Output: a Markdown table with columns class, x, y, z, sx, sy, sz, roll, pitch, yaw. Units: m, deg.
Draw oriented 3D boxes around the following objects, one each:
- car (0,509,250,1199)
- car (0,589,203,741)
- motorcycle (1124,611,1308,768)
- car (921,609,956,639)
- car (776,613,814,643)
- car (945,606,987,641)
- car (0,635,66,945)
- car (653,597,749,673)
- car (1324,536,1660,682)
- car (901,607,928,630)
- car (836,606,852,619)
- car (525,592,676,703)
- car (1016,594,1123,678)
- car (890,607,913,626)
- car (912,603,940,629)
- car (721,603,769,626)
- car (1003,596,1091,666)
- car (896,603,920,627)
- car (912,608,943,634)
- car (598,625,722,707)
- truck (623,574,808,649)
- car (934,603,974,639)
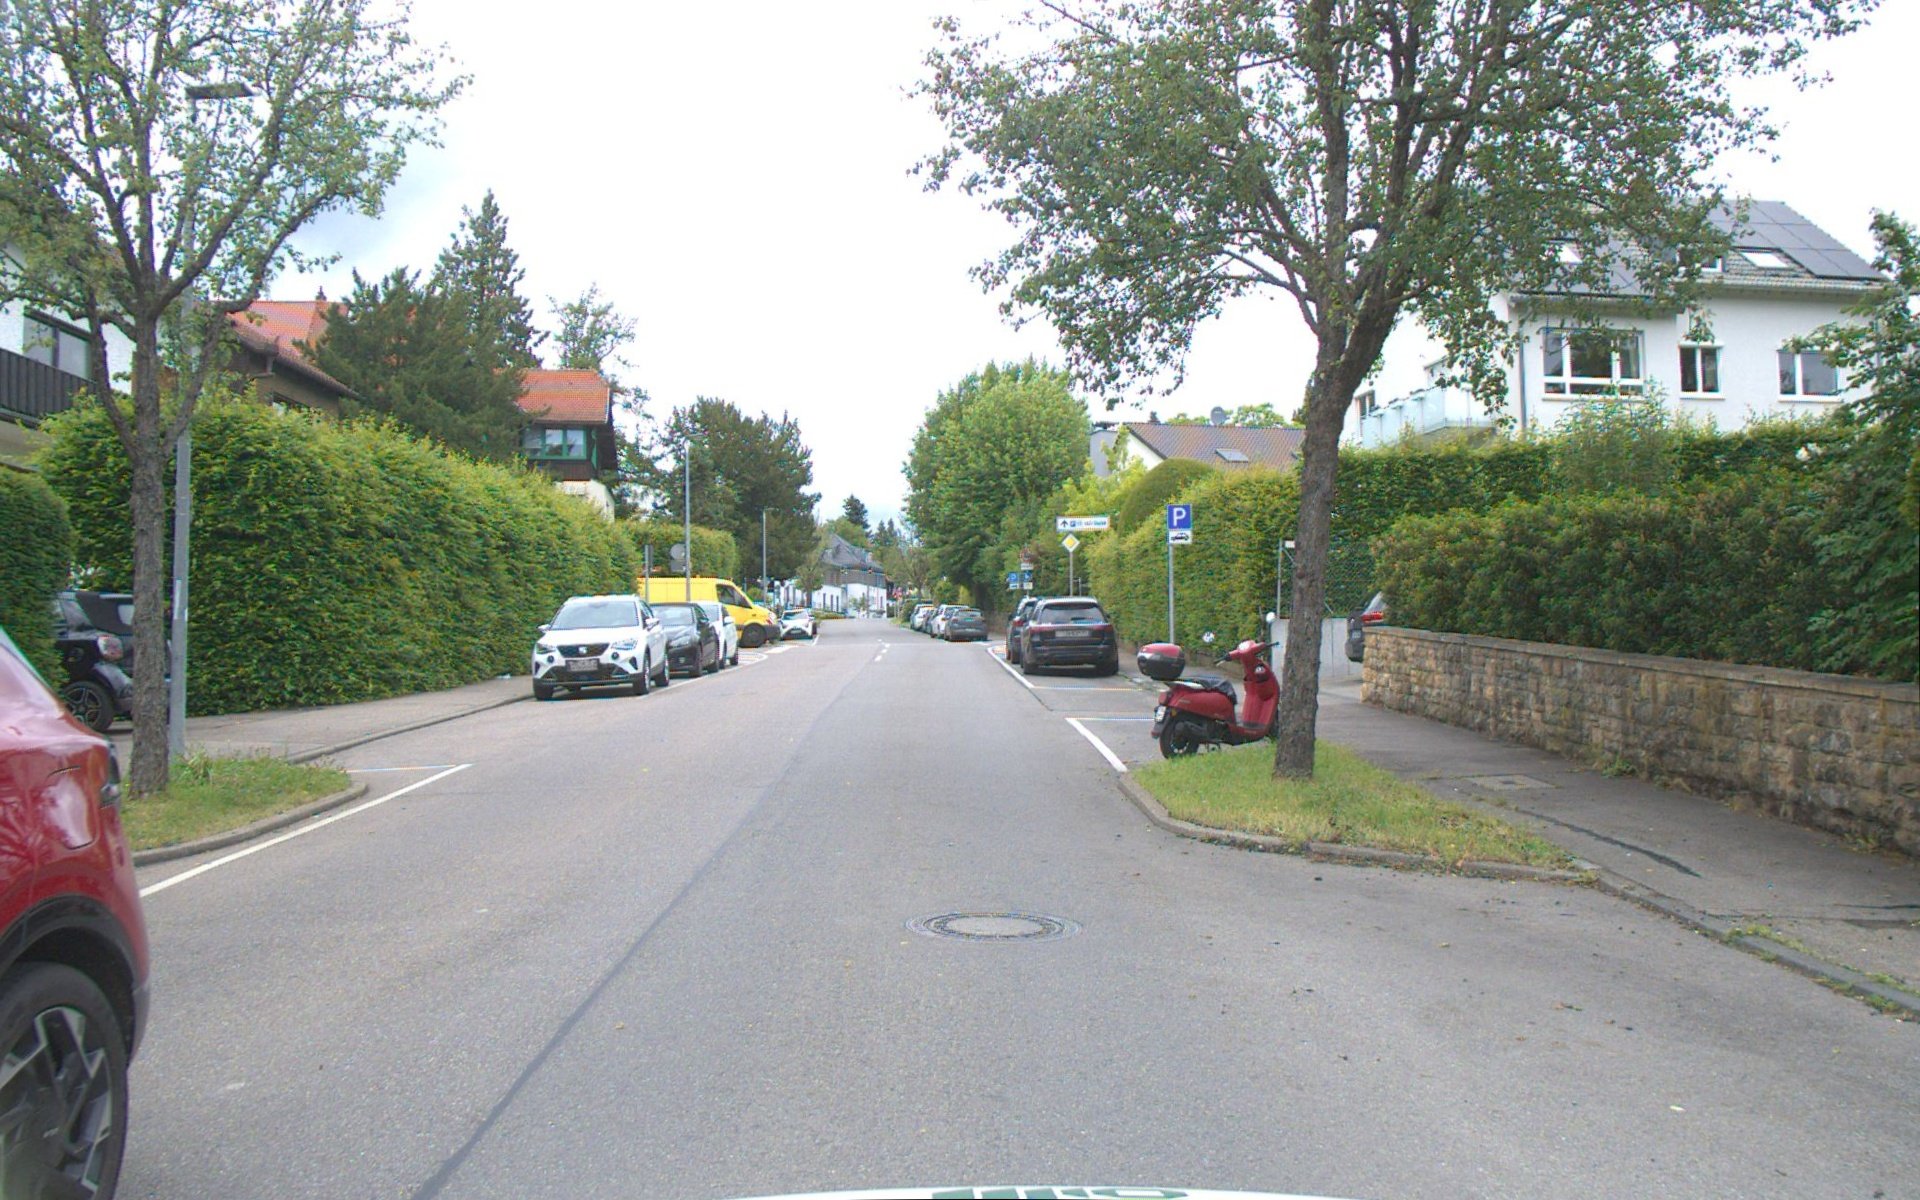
| class | x | y | z | sx | sy | sz | roll | pitch | yaw |
| --- | --- | --- | --- | --- | --- | --- | --- | --- | --- |
| car | -2.809 | 0.702 | 2.178 | 1.902 | 1.676 | 4.257 | -3 | 0 | -1 |
| car | -10.910 | 0.669 | 18.649 | 3.904 | 1.560 | 1.788 | 1 | 1 | 3 |
| motorcycle | 2.445 | 0.811 | 15.669 | 1.848 | 1.370 | 0.591 | -1 | 0 | -37 |
| car | -1.210 | 1.296 | 90.653 | 1.632 | 1.527 | 3.464 | -1 | 0 | -5 |
| car | -8.202 | 1.361 | 81.942 | 1.634 | 1.424 | 3.459 | -1 | 0 | -10 |
| car | 0.253 | 1.063 | 76.610 | 1.632 | 1.527 | 3.464 | -1 | 0 | -5 |
| car | -5.350 | 0.915 | 6.275 | 1.692 | 1.448 | 4.078 | -2 | 0 | -1 |
| car | -5.803 | 0.749 | 37.363 | 1.597 | 1.550 | 3.637 | -3 | 0 | -1 |
| car | 7.933 | 0.121 | 24.945 | 4.280 | 1.493 | 1.967 | -8 | 0 | -3 |
| car | -3.170 | 1.300 | 114.867 | 1.632 | 1.527 | 3.464 | -1 | 0 | -5 |
| car | -13.818 | 1.440 | 196.405 | 1.787 | 1.445 | 3.996 | -1 | 0 | -5 |
| car | -5.611 | 0.687 | 26.223 | 1.688 | 1.567 | 3.997 | -2 | 0 | -3 |
| car | 2.143 | 0.673 | 33.493 | 1.844 | 1.560 | 4.475 | 0 | 0 | 0 |
| car | -4.659 | 1.307 | 131.342 | 1.611 | 1.396 | 3.464 | -1 | 0 | -5 |
| car | -2.235 | 1.035 | 108.559 | 1.632 | 1.697 | 3.464 | -1 | 0 | -5 |
| car | -17.347 | 1.152 | 133.562 | 3.773 | 1.767 | 1.639 | -1 | 0 | -9 |
| car | 2.026 | 0.697 | 39.479 | 1.844 | 1.560 | 4.475 | 0 | 0 | 0 |
| car | -3.894 | 1.125 | 123.303 | 1.611 | 1.697 | 3.464 | -1 | 0 | -5 |
| car | -1.989 | 1.273 | 101.273 | 1.632 | 1.527 | 3.464 | -1 | 0 | -5 |
| car | -5.790 | 1.251 | 32.327 | 1.727 | 1.412 | 3.998 | -3 | -1 | -1 |
| truck | -8.303 | 0.432 | 55.971 | 5.841 | 2.349 | 2.810 | 1 | -3 | -19 |
| car | -0.329 | 1.032 | 81.522 | 1.680 | 1.686 | 3.618 | -1 | 0 | -5 |
